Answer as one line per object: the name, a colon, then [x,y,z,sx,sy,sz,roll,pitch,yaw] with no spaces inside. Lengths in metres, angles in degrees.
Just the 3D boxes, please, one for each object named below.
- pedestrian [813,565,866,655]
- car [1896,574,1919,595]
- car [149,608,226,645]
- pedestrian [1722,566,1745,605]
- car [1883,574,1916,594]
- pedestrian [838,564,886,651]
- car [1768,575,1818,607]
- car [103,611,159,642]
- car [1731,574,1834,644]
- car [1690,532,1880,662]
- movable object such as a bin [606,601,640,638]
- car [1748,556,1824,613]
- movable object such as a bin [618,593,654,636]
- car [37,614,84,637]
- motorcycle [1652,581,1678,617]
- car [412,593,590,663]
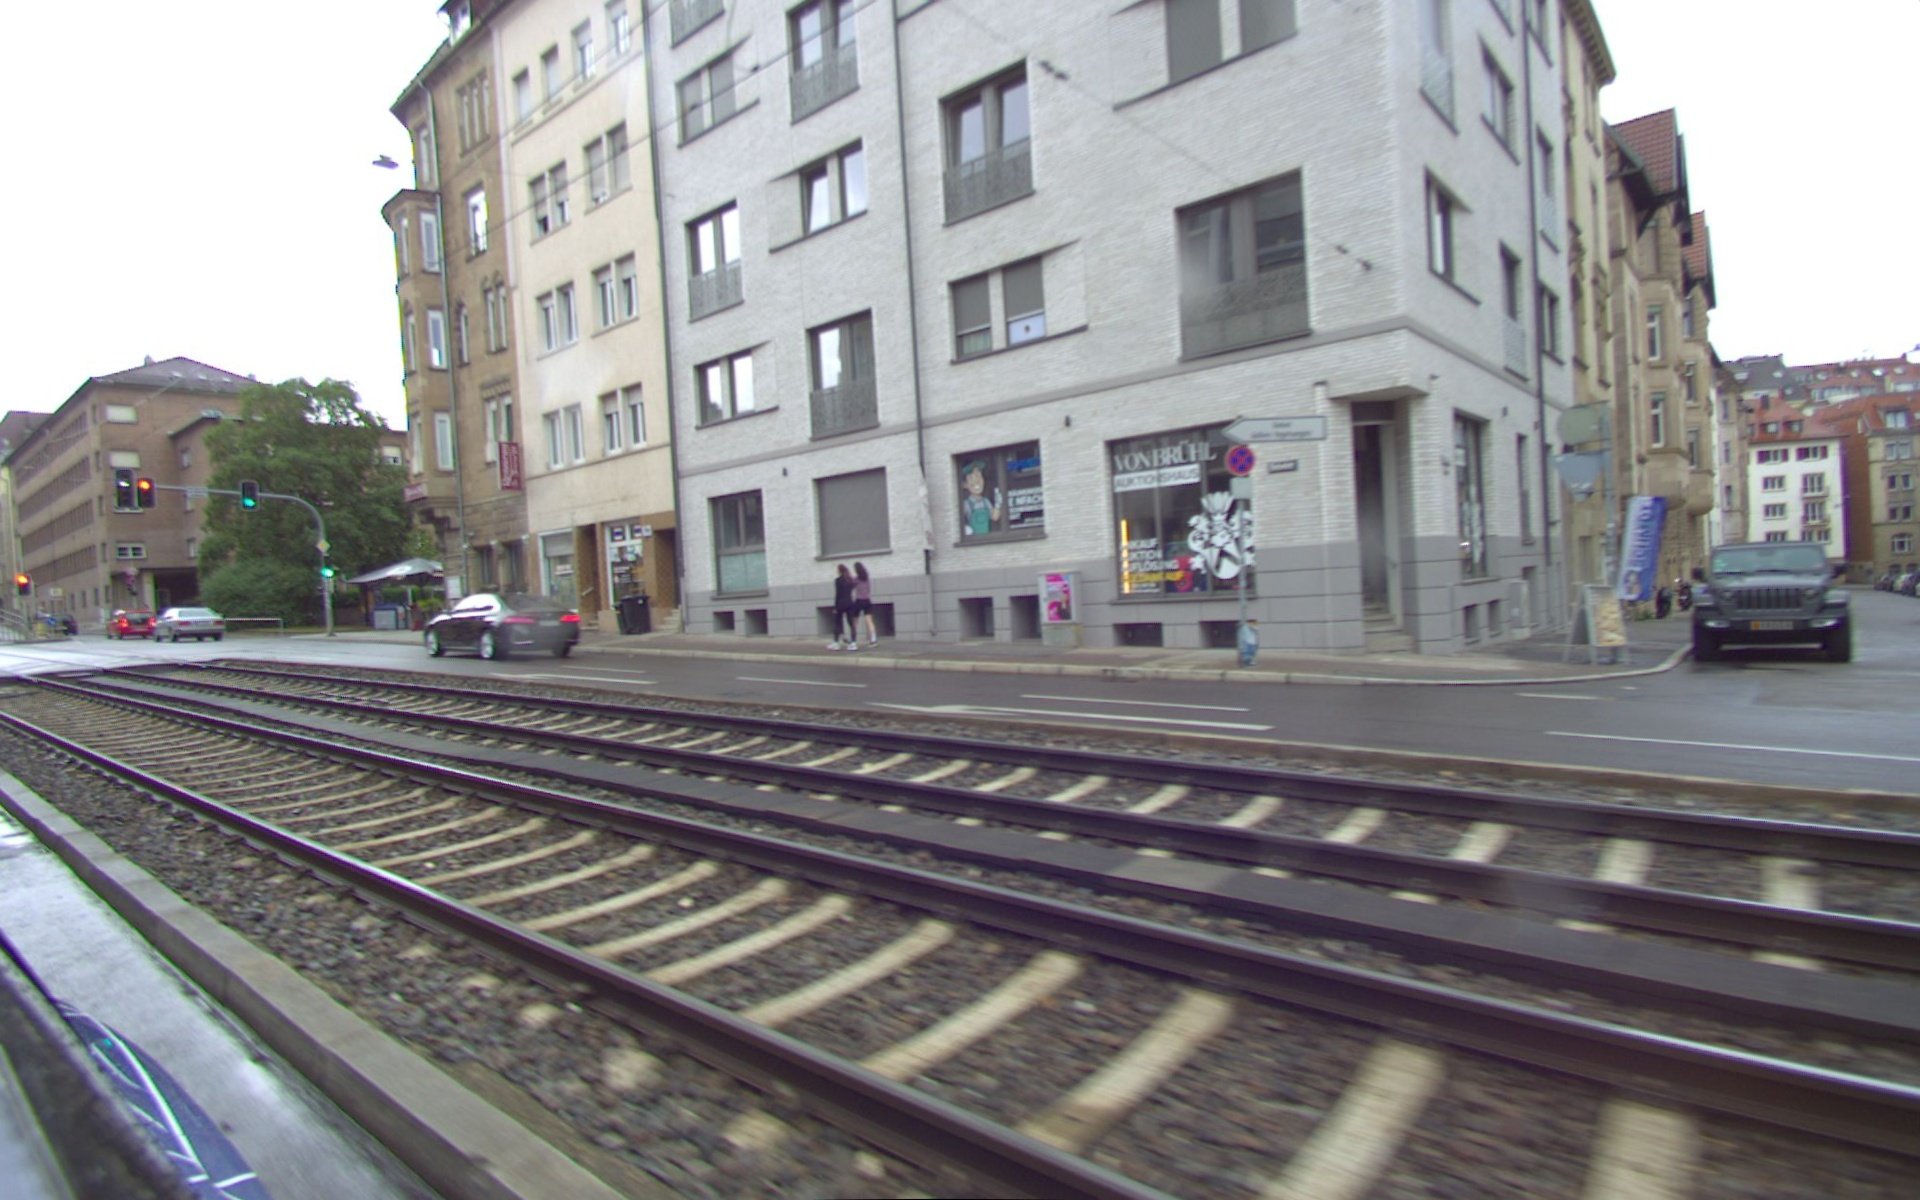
pedestrian: [-2.419,0.190,20.334,0.746,1.730,0.595,-1,3,43]
car: [70.112,-1.126,74.400,1.690,1.485,3.735,-1,-1,40]
car: [-33.128,1.124,43.356,4.641,1.472,1.695,-1,1,41]
pedestrian: [41.460,-0.773,54.223,0.901,2.029,0.752,-1,0,40]
car: [75.405,-1.272,81.264,1.689,1.485,3.736,-1,-1,39]
pedestrian: [-2.016,0.147,20.812,0.658,1.730,0.595,-1,3,43]
car: [38.561,-0.390,46.869,1.704,1.401,4.402,-1,-1,40]
car: [-41.913,1.341,51.137,3.385,1.461,1.610,-1,1,41]
car: [15.927,0.158,19.606,1.430,1.233,3.478,-1,-1,40]
car: [12.888,-0.092,16.034,2.032,1.741,4.648,-1,1,37]
movable object such as a bin: [-9.285,0.538,27.896,0.563,0.934,0.623,-1,5,40]
car: [29.576,-0.514,36.246,1.948,1.884,4.735,-1,-1,40]
movable object such as a bin: [-8.764,0.384,27.380,0.563,1.088,0.623,-1,5,40]
car: [-57.689,1.618,64.881,3.943,1.346,1.759,-1,1,41]
motorcycle: [25.228,-0.057,36.194,0.598,1.241,2.005,-1,0,39]
car: [-10.877,0.626,23.826,4.859,1.468,2.066,-1,0,42]
